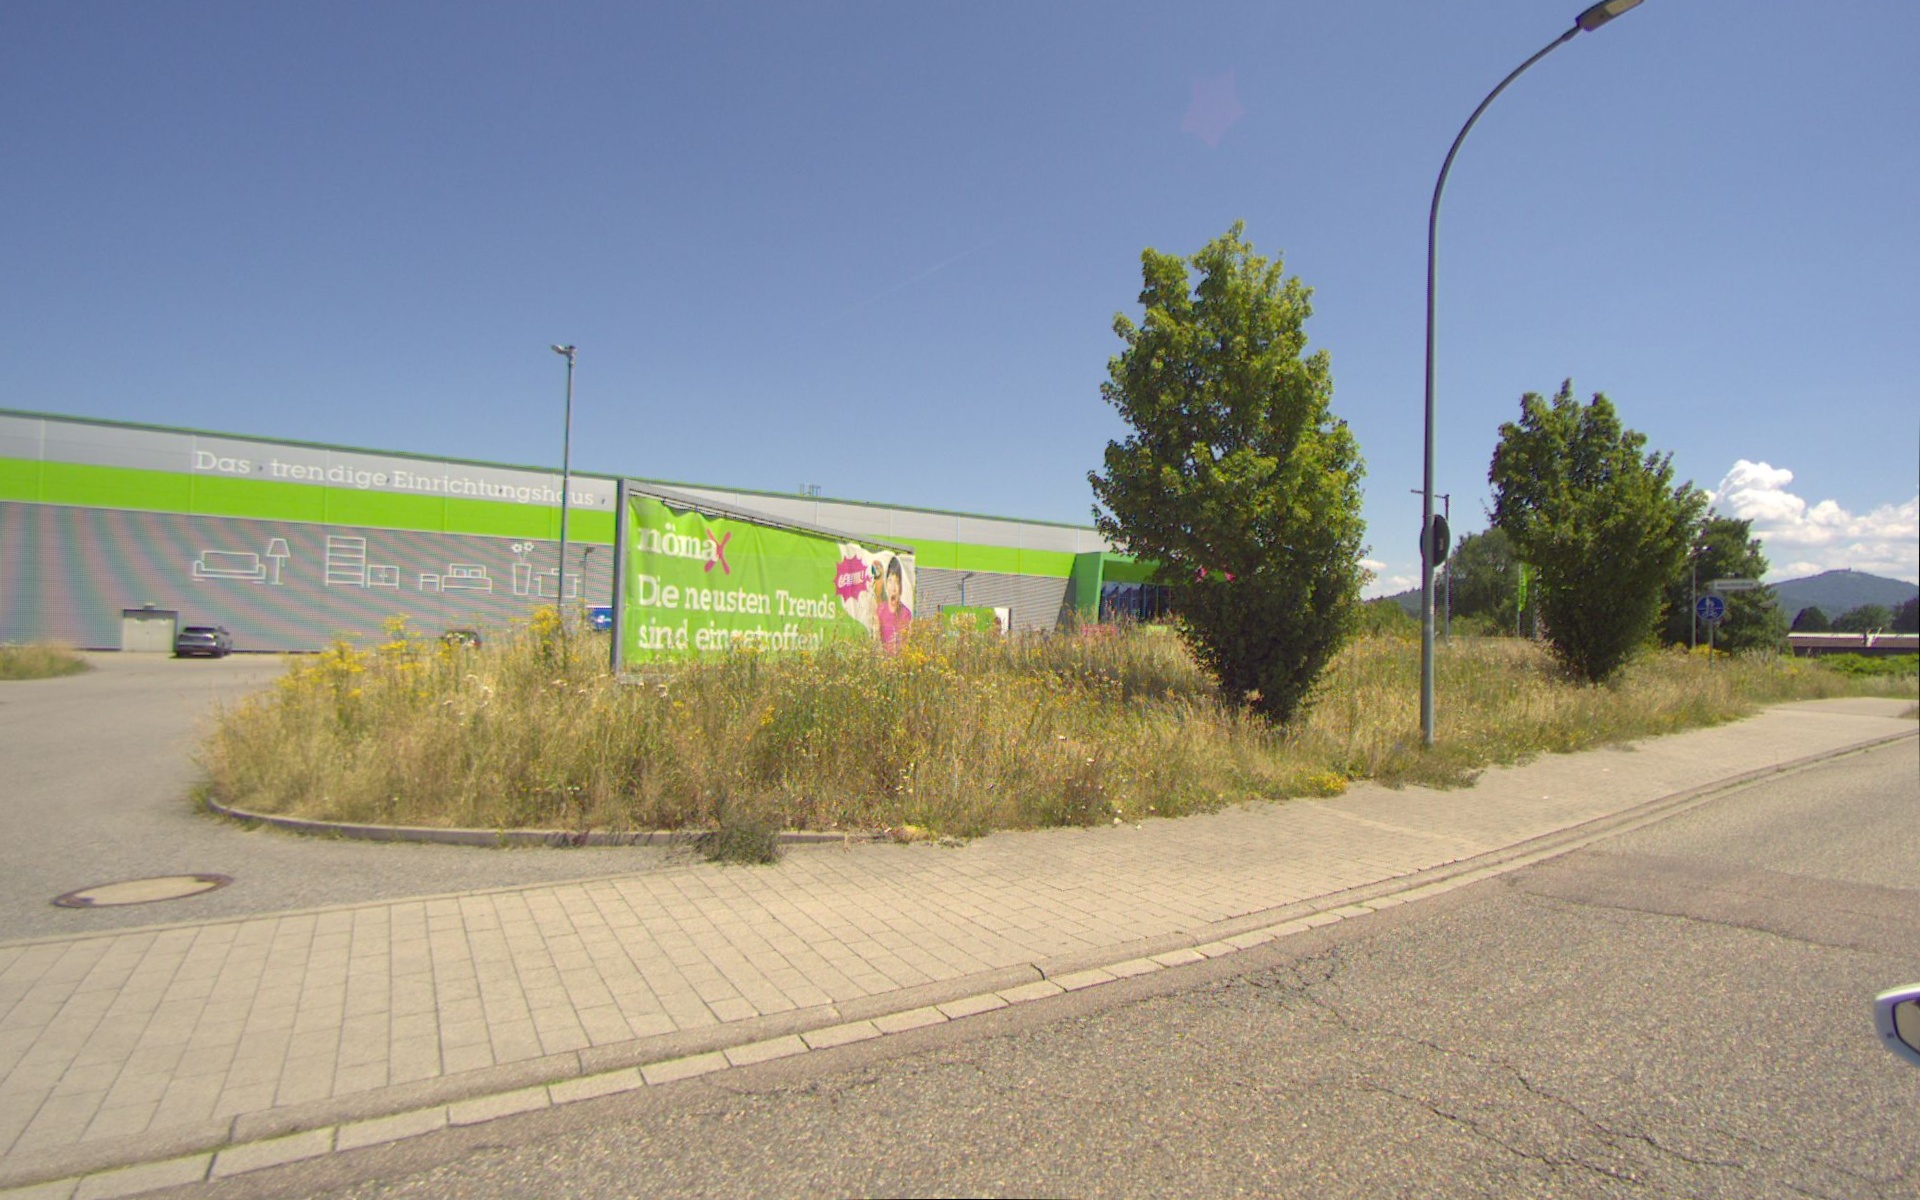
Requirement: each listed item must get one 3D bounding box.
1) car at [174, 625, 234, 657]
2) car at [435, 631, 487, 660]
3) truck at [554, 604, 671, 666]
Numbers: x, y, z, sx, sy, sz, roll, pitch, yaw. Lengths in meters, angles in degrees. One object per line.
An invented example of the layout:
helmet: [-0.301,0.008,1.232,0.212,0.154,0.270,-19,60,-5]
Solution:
car: [-37.481,2.008,49.894,2.077,1.509,3.964,2,-2,-33]
car: [-27.538,2.470,55.360,2.077,1.509,3.964,2,-2,-33]
truck: [-16.728,1.621,49.014,2.903,2.719,7.778,1,-1,1]
